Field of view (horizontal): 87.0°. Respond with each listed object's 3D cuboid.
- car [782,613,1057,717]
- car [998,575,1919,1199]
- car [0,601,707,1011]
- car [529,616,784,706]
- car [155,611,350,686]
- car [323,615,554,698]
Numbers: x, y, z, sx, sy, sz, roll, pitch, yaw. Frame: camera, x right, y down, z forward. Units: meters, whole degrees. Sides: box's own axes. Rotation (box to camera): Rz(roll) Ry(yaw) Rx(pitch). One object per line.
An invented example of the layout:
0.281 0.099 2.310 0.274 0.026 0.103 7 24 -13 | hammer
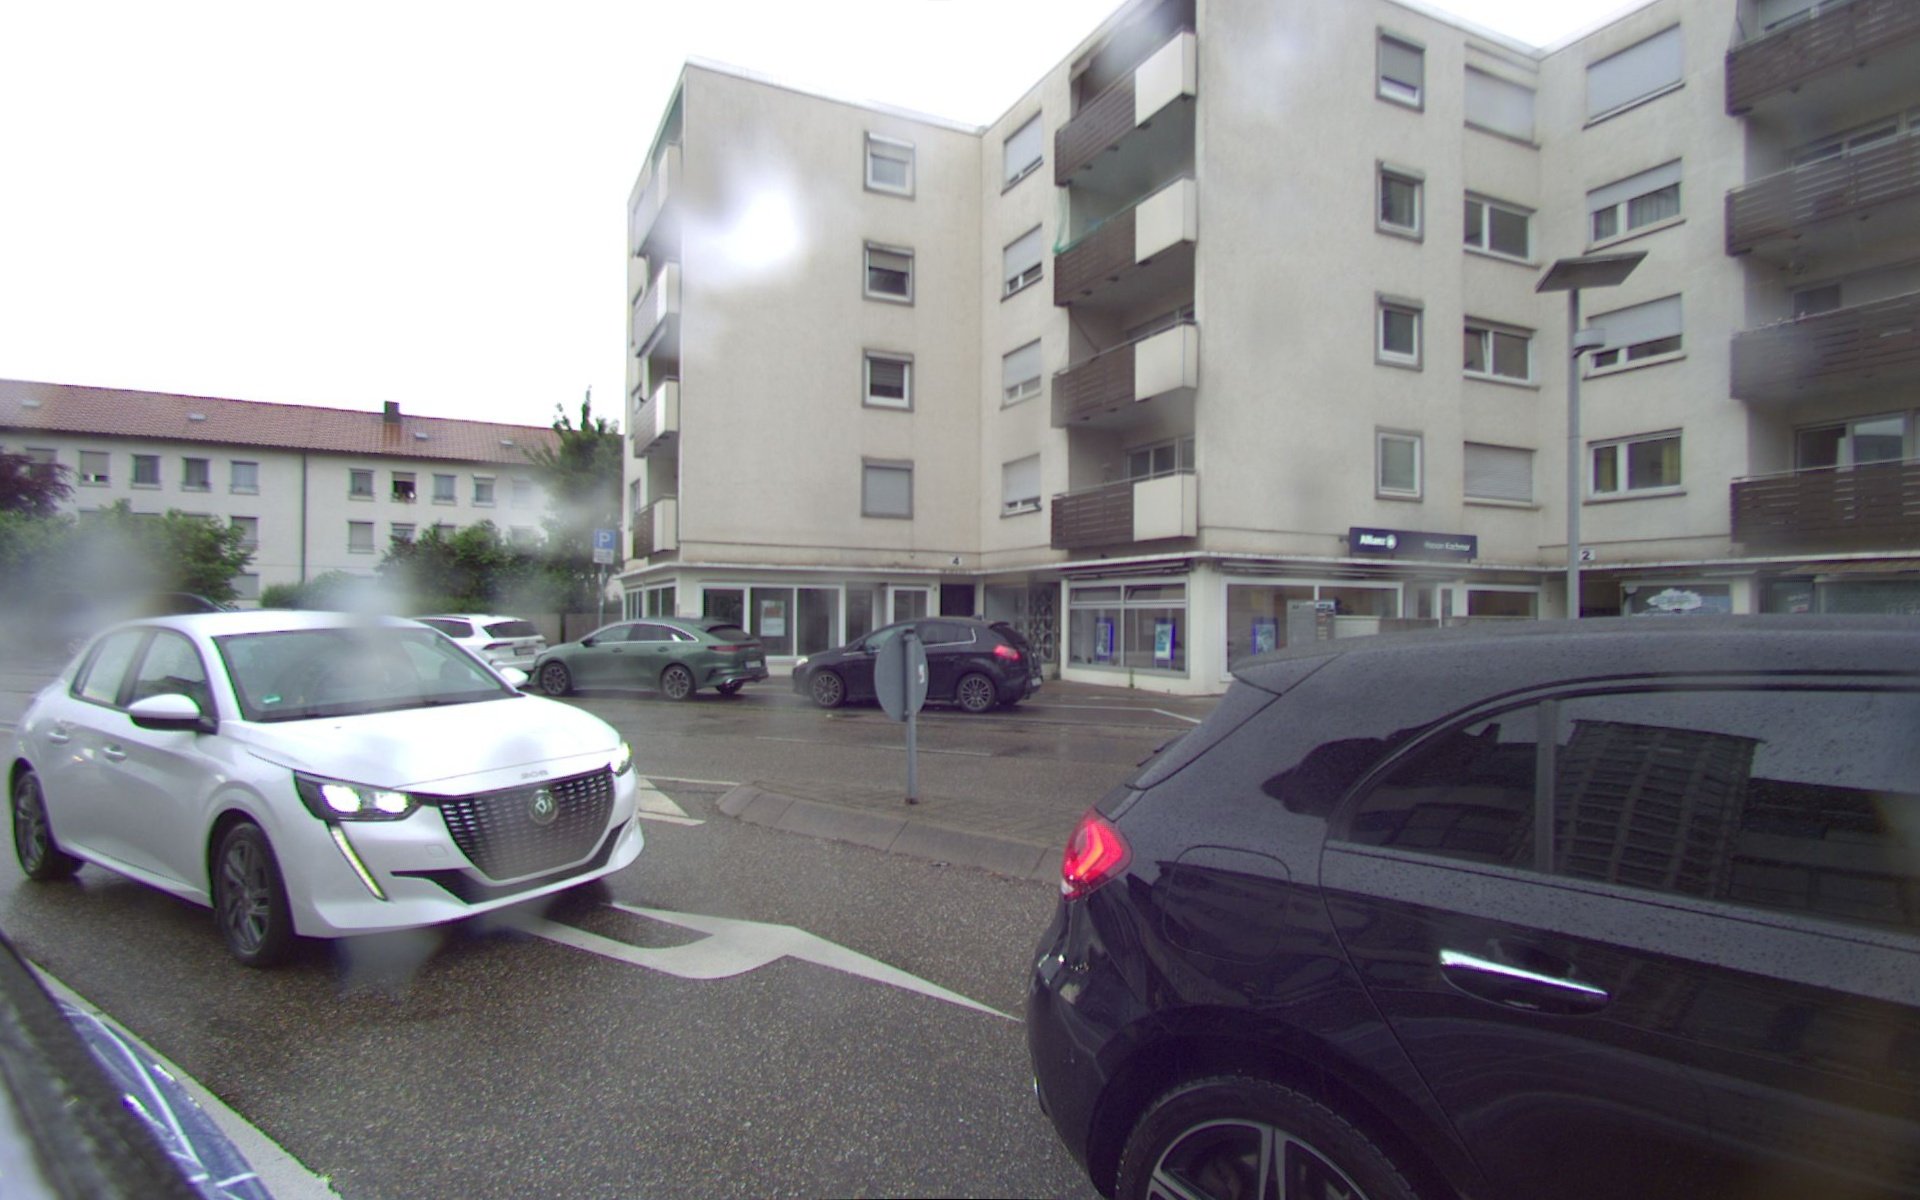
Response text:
-0.648 0.988 16.619 4.156 1.471 1.825 0 0 20 | car
2.180 0.690 1.309 4.090 1.492 1.646 -2 -1 40 | car
-3.366 0.753 5.320 3.882 1.420 1.726 -1 0 31 | car
-5.537 1.045 18.522 4.241 1.445 1.826 0 0 19 | car
-15.638 1.035 22.371 3.852 1.517 1.623 0 -1 20 | car
-10.494 1.076 20.365 4.313 1.511 1.627 0 -1 20 | car
